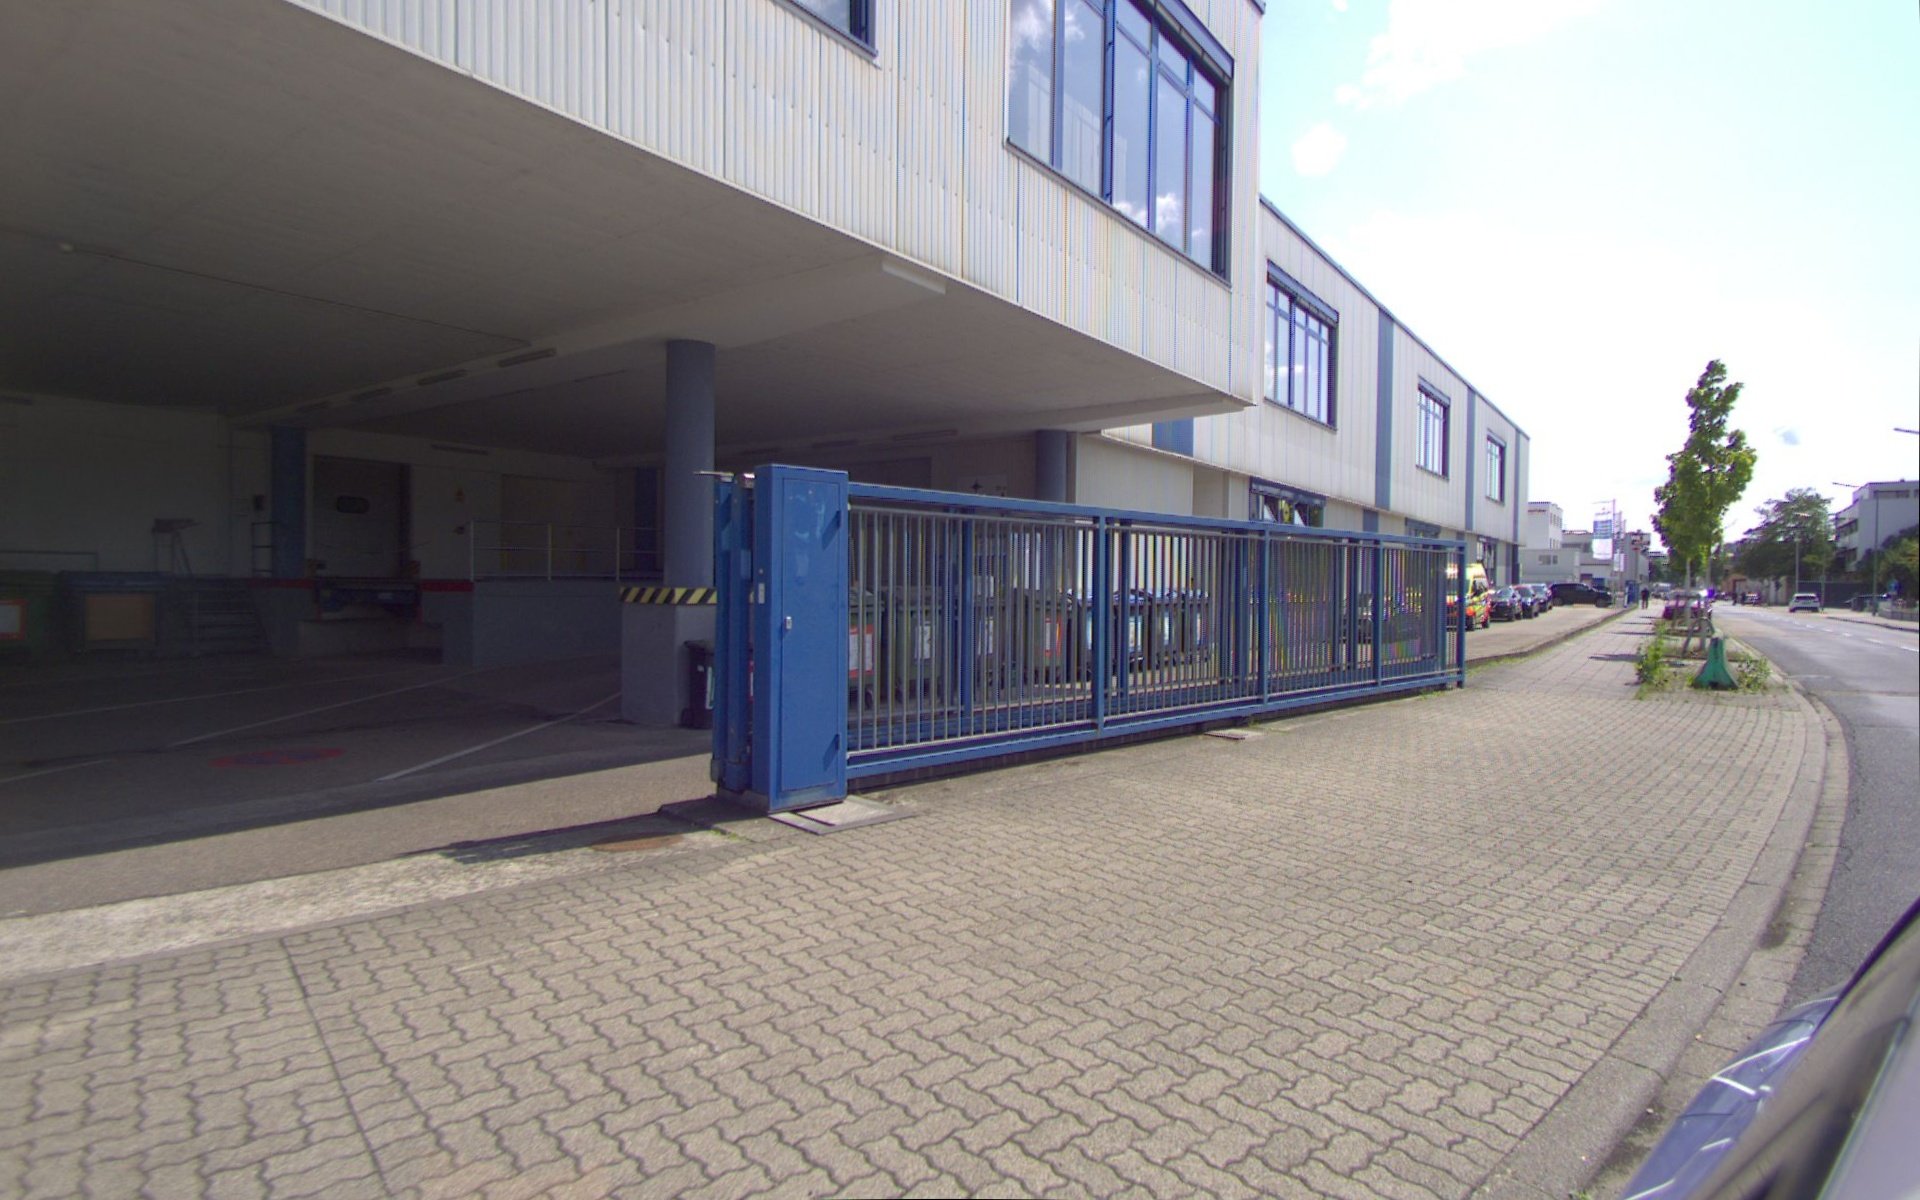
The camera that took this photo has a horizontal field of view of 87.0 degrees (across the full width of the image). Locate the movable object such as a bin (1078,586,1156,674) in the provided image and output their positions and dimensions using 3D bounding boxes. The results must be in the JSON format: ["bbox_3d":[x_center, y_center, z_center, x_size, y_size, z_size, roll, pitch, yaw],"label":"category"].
[{"bbox_3d":[2.703,0.484,17.351,0.801,1.431,1.341,-1,0,35],"label":"movable object such as a bin"}]

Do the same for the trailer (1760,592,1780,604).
[{"bbox_3d":[106.575,-0.240,133.113,1.761,1.457,4.281,-3,0,36],"label":"trailer"}]

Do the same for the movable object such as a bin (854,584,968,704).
[{"bbox_3d":[-0.606,0.517,12.895,0.801,1.431,1.341,-1,0,34],"label":"movable object such as a bin"}]

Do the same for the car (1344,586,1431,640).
[{"bbox_3d":[12.330,0.320,29.059,1.492,1.421,3.805,0,1,36],"label":"car"}]

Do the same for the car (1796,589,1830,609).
[{"bbox_3d":[75.002,-0.108,89.002,1.861,1.730,4.693,-1,1,35],"label":"car"}]

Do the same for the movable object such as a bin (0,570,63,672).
[{"bbox_3d":[-14.612,0.298,15.205,1.329,1.487,1.421,1,1,34],"label":"movable object such as a bin"}]

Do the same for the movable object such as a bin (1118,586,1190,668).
[{"bbox_3d":[3.563,0.466,18.542,0.801,1.431,1.341,-1,0,35],"label":"movable object such as a bin"}]

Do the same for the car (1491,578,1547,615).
[{"bbox_3d":[28.224,-0.214,51.045,1.988,1.677,4.236,1,3,36],"label":"car"}]

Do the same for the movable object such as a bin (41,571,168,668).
[{"bbox_3d":[-13.836,0.284,16.378,1.329,1.487,1.277,1,0,34],"label":"movable object such as a bin"}]

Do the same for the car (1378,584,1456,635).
[{"bbox_3d":[14.792,0.265,32.674,1.568,1.509,3.768,0,1,36],"label":"car"}]

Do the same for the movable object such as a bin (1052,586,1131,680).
[{"bbox_3d":[2.111,0.501,16.181,0.801,1.431,1.160,-1,0,34],"label":"movable object such as a bin"}]

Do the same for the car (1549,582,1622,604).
[{"bbox_3d":[44.398,-0.518,71.851,4.269,1.438,1.973,2,1,37],"label":"car"}]

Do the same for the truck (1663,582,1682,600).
[{"bbox_3d":[139.902,-1.750,198.737,2.589,3.267,7.985,-3,0,32],"label":"truck"}]

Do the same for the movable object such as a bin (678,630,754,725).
[{"bbox_3d":[-2.635,0.814,10.918,0.586,0.955,0.538,-1,0,34],"label":"movable object such as a bin"}]

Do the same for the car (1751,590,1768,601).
[{"bbox_3d":[115.808,-0.617,146.642,1.668,1.473,4.456,-2,0,36],"label":"car"}]

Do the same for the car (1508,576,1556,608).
[{"bbox_3d":[32.003,-0.460,56.565,1.822,1.530,4.583,1,4,36],"label":"car"}]

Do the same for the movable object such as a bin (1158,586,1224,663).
[{"bbox_3d":[4.507,0.456,19.730,0.801,1.431,1.341,-1,0,35],"label":"movable object such as a bin"}]

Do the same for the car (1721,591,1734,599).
[{"bbox_3d":[149.537,-0.986,197.148,1.704,1.486,4.573,-3,0,34],"label":"car"}]

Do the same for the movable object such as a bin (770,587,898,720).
[{"bbox_3d":[-1.450,0.577,11.815,0.801,1.431,1.341,-1,0,34],"label":"movable object such as a bin"}]

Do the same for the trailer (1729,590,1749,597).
[{"bbox_3d":[139.638,-1.123,181.368,2.442,1.179,5.978,-1,0,35],"label":"trailer"}]

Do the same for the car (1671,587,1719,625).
[{"bbox_3d":[34.585,0.229,47.584,1.751,1.671,4.615,0,1,37],"label":"car"}]

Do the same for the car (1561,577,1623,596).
[{"bbox_3d":[49.720,-1.098,79.584,3.977,1.438,1.973,2,1,37],"label":"car"}]

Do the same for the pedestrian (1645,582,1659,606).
[{"bbox_3d":[52.827,-0.432,77.268,0.767,1.778,0.777,3,2,36],"label":"pedestrian"}]

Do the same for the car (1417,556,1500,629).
[{"bbox_3d":[18.472,-0.315,37.392,1.918,2.494,5.192,0,1,36],"label":"car"}]

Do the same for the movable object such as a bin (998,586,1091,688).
[{"bbox_3d":[1.284,0.523,15.137,0.801,1.431,1.410,-1,1,34],"label":"movable object such as a bin"}]

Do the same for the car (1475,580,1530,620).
[{"bbox_3d":[25.023,-0.054,46.611,1.709,1.672,4.161,1,2,36],"label":"car"}]

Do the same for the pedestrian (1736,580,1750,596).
[{"bbox_3d":[97.378,-1.492,125.817,0.978,1.976,1.087,1,1,13],"label":"pedestrian"}]

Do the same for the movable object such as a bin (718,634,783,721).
[{"bbox_3d":[-2.350,0.852,11.341,0.596,0.921,0.412,-1,0,34],"label":"movable object such as a bin"}]

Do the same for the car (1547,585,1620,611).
[{"bbox_3d":[41.671,-0.159,67.630,4.071,1.707,1.975,1,1,35],"label":"car"}]

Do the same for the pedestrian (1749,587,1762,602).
[{"bbox_3d":[98.644,-0.653,125.476,0.846,1.830,1.001,1,1,13],"label":"pedestrian"}]

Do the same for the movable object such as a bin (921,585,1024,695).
[{"bbox_3d":[0.191,0.522,14.083,0.801,1.431,1.389,-1,1,34],"label":"movable object such as a bin"}]
